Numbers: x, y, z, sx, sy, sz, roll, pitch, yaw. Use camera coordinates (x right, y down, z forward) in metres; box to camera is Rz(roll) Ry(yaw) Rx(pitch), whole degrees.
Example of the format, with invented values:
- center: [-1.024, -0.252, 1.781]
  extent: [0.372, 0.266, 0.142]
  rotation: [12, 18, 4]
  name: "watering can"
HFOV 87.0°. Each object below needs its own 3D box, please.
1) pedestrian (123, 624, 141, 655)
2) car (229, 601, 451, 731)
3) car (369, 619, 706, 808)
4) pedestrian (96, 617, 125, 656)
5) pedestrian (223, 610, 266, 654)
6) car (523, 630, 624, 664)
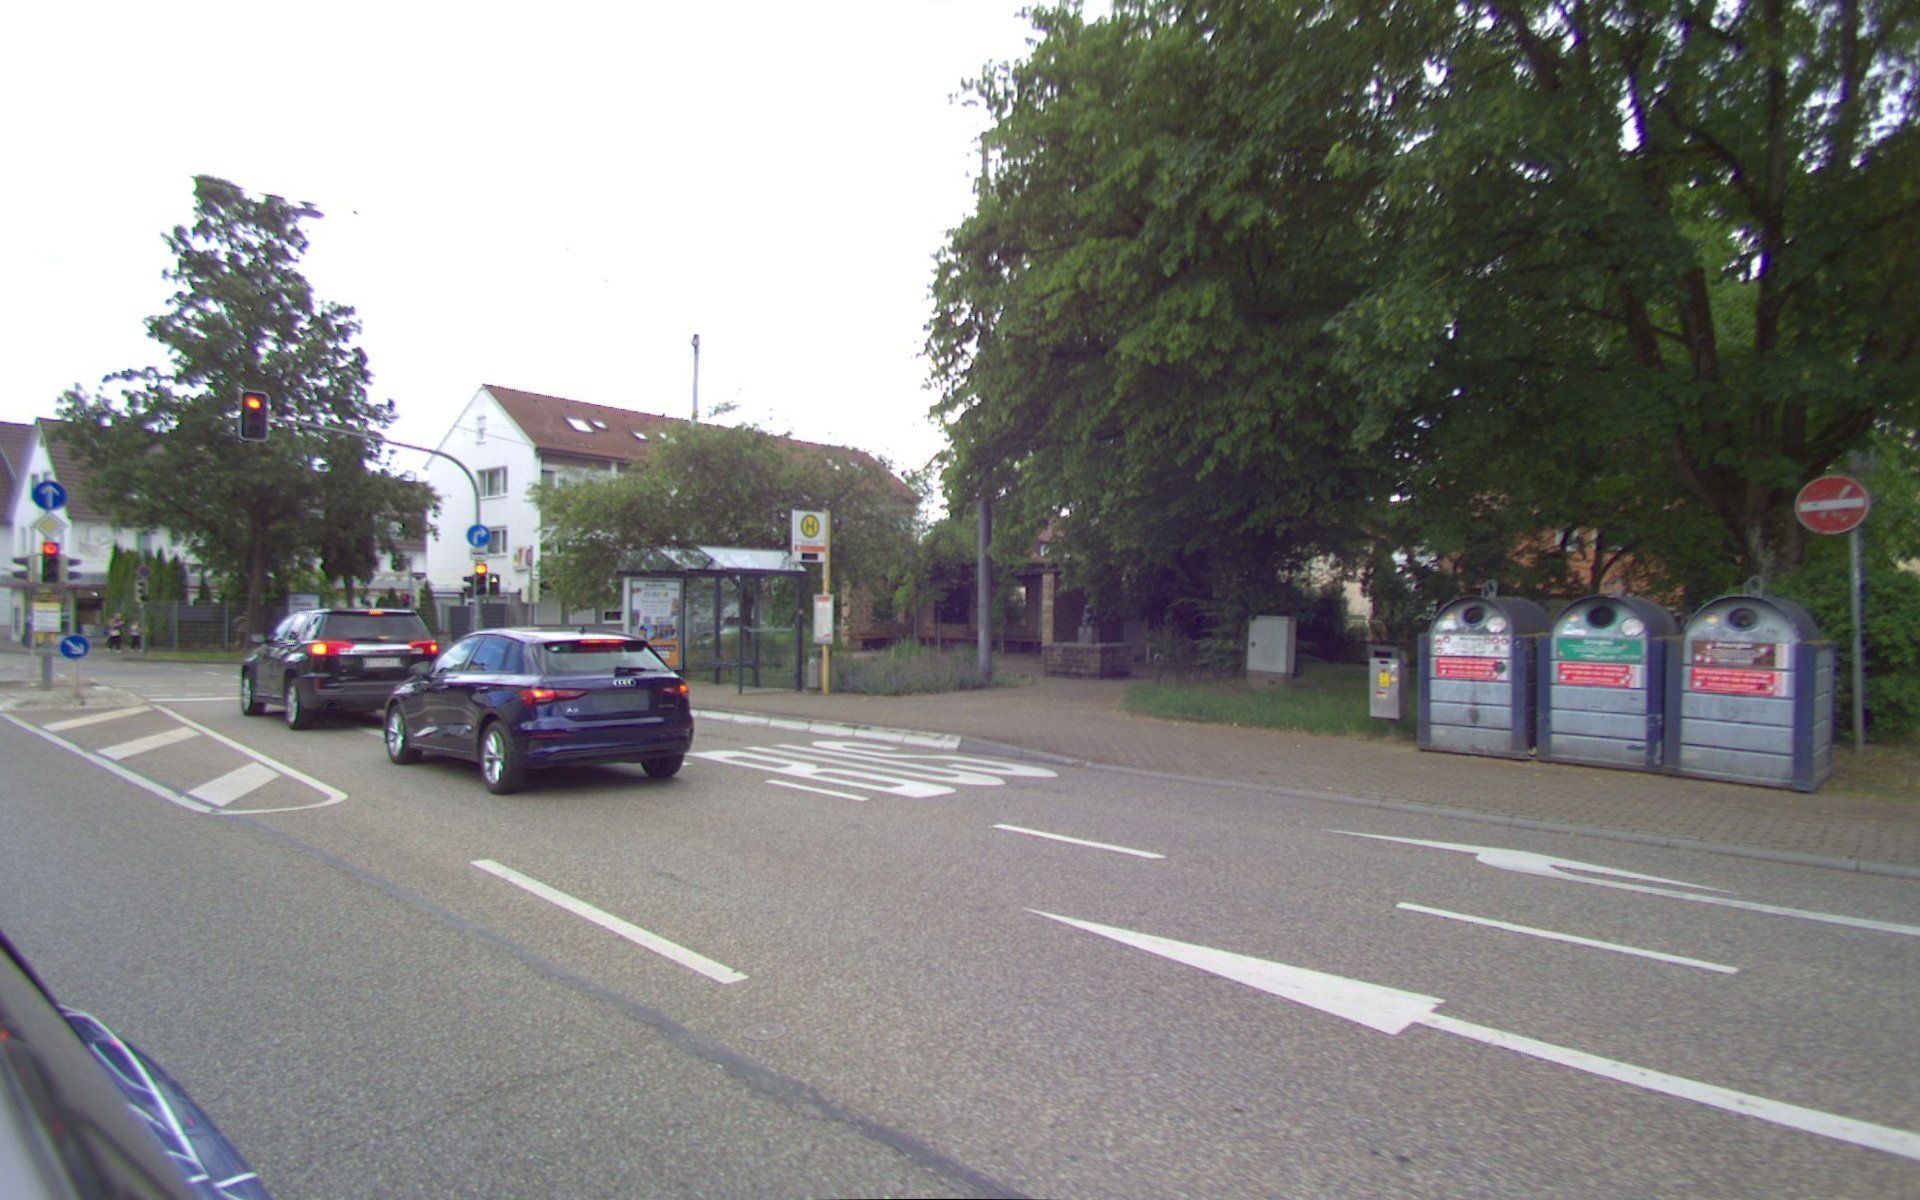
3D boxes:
- center: [-35.315, 1.675, 43.148]
  extent: [0.547, 1.271, 0.380]
  rotation: [0, 1, 24]
  name: "pedestrian"
- center: [-9.498, 0.890, 15.328]
  extent: [4.597, 1.647, 1.738]
  rotation: [0, -2, 44]
  name: "car"
- center: [-4.333, 0.940, 10.028]
  extent: [4.131, 1.431, 1.546]
  rotation: [0, -1, 44]
  name: "car"
- center: [-35.822, 1.530, 42.683]
  extent: [0.861, 1.617, 0.637]
  rotation: [0, 1, 24]
  name: "pedestrian"
- center: [-29.662, 1.311, 41.981]
  extent: [1.212, 1.767, 0.824]
  rotation: [0, 1, -1]
  name: "pedestrian"
- center: [-16.479, 2.001, 43.215]
  extent: [1.771, 1.409, 3.595]
  rotation: [-1, -3, 41]
  name: "car"
